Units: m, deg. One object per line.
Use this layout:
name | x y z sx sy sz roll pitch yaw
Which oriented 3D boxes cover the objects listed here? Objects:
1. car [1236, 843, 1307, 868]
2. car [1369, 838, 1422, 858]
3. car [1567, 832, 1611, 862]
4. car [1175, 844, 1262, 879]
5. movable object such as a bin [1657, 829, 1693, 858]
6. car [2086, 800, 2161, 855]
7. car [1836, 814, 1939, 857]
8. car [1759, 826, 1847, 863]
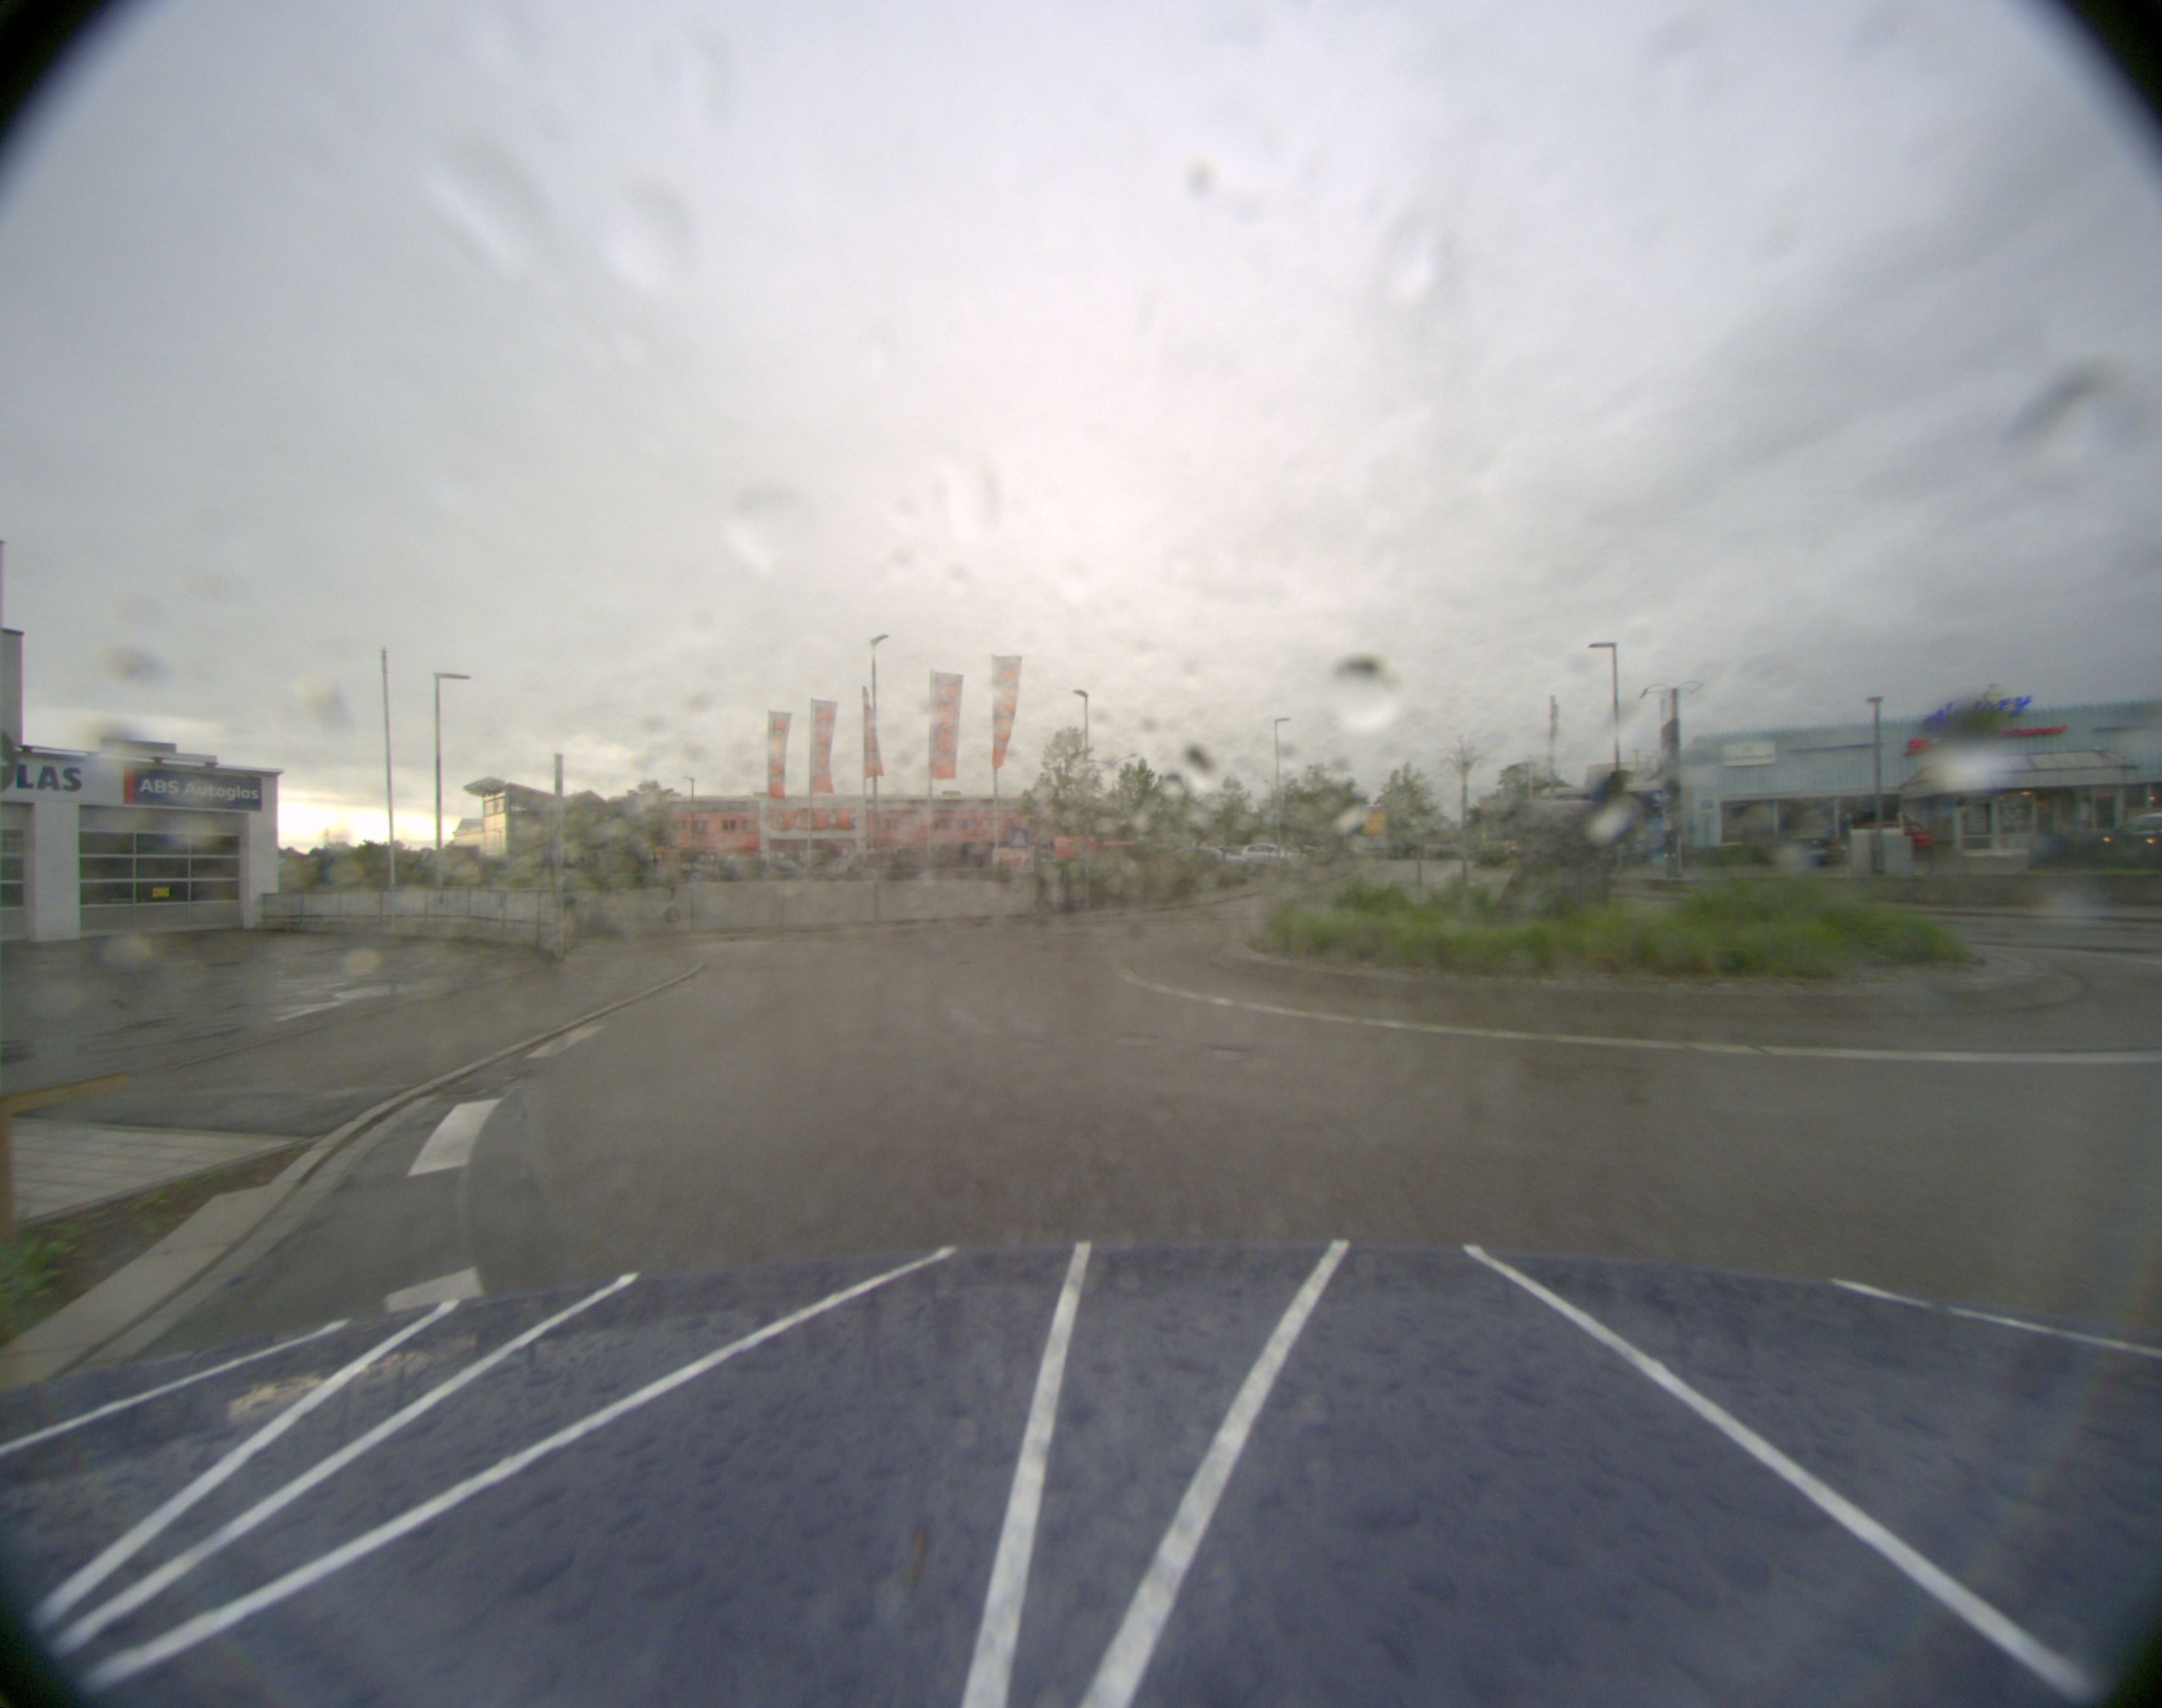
car | 12.473 0.107 49.741 3.989 1.433 2.004 -3 -2 34
car | 28.108 -0.514 67.941 3.989 1.586 2.004 -3 -2 34
car | 29.702 -0.408 44.368 1.916 1.520 4.008 -5 -2 36
car | 7.406 0.440 40.986 4.095 1.695 2.004 -3 -2 37
movable object such as a bin | 29.443 -0.503 37.679 1.212 1.287 1.481 -6 -2 33
car | 26.750 -0.717 18.222 1.883 1.287 4.008 -6 -2 34
car | 32.271 -0.721 30.548 1.883 1.477 4.008 -6 -2 34
car | 29.816 -0.402 31.509 1.883 1.287 4.008 -6 -2 34
